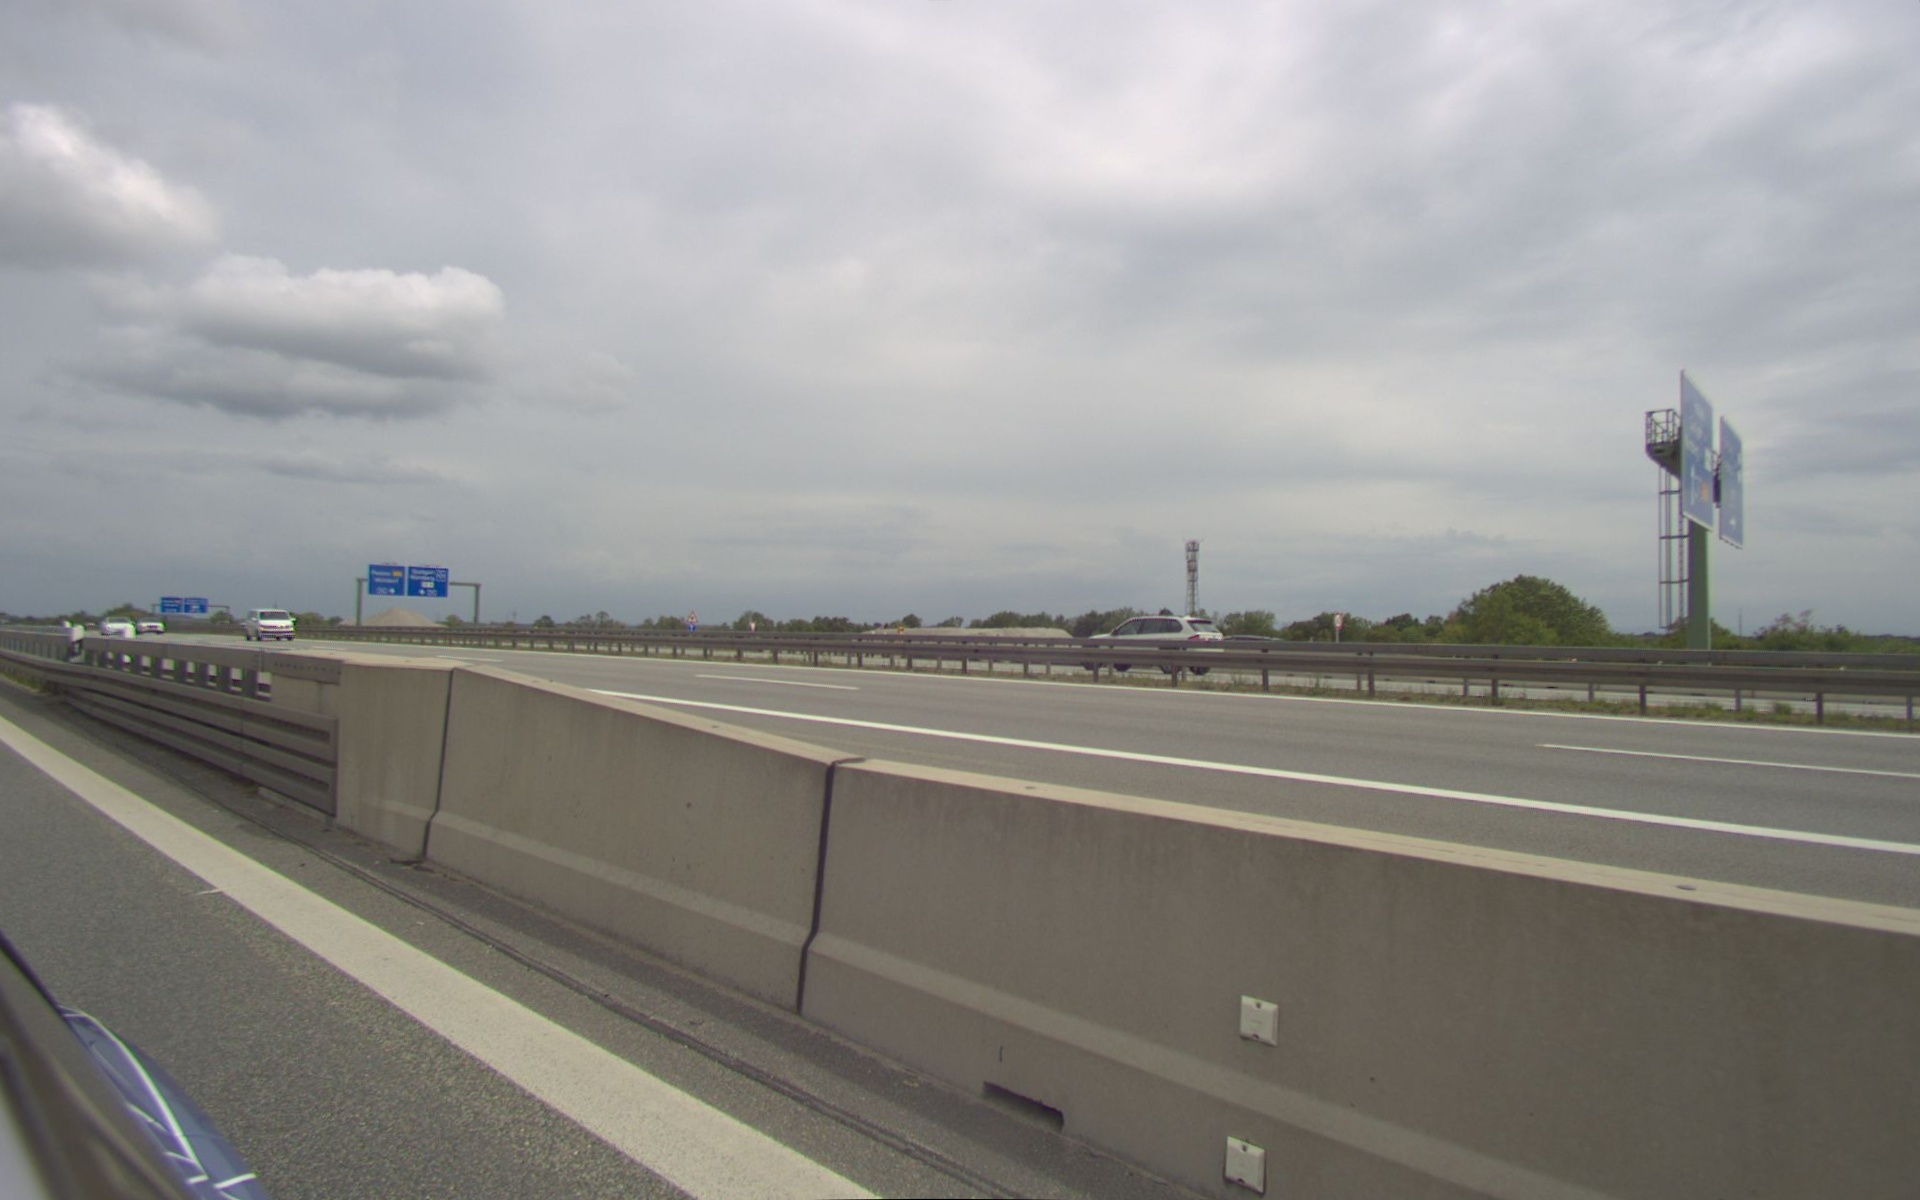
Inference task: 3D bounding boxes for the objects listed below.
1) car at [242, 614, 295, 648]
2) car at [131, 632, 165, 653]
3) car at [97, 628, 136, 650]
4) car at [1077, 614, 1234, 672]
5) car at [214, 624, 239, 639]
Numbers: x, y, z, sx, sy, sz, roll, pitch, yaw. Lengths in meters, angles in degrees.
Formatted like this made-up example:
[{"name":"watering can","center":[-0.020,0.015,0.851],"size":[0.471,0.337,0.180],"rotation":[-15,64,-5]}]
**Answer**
[{"name":"car","center":[-43.092,1.950,63.000],"size":[1.971,2.029,4.468],"rotation":[0,-2,-45]},{"name":"car","center":[-78.026,4.066,97.269],"size":[4.000,1.896,1.972],"rotation":[-2,-2,43]},{"name":"car","center":[-70.176,3.252,84.195],"size":[4.000,1.763,1.972],"rotation":[-2,-2,43]},{"name":"car","center":[5.920,1.303,31.073],"size":[4.519,1.635,1.724],"rotation":[-3,-2,45]},{"name":"car","center":[-101.395,4.317,139.897],"size":[4.506,1.876,1.971],"rotation":[-2,1,44]}]
